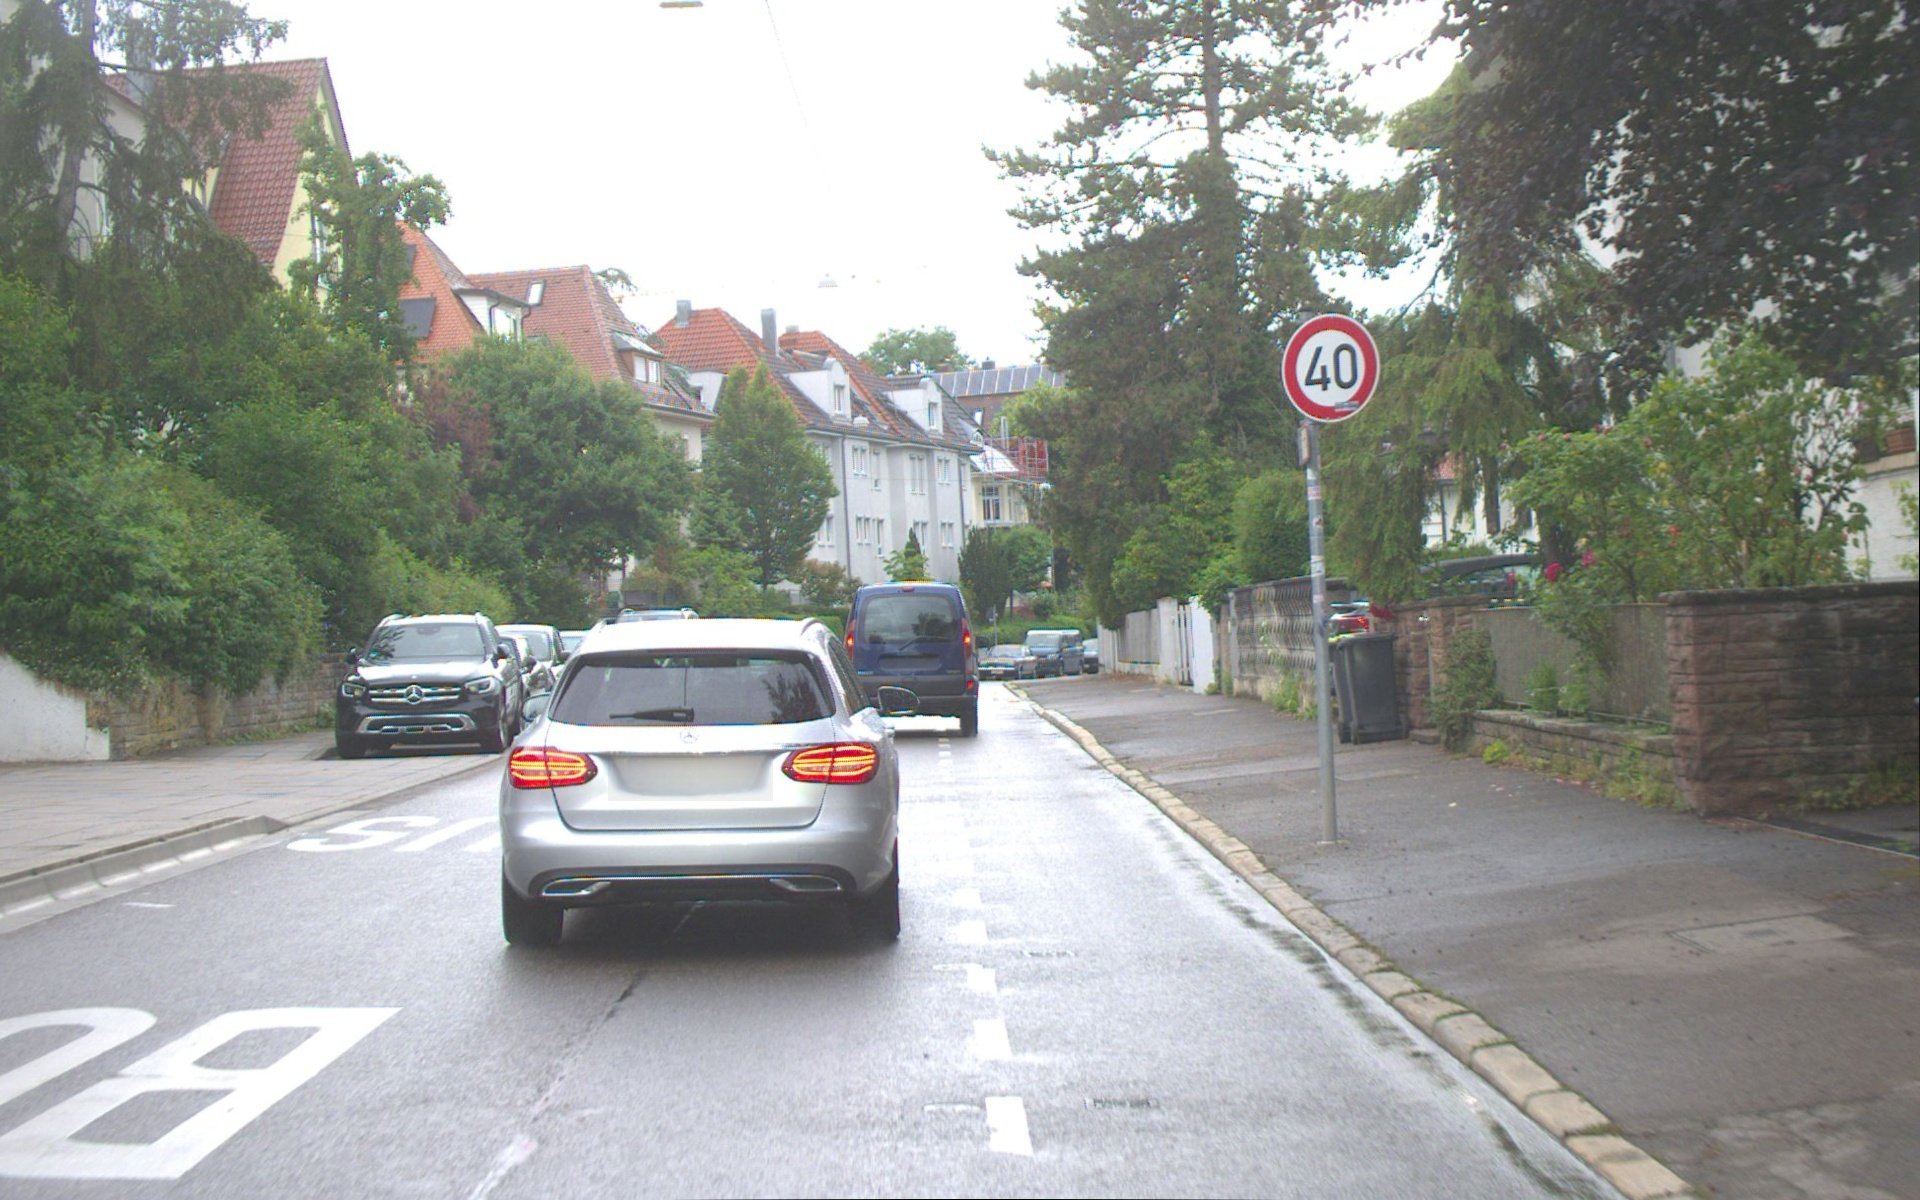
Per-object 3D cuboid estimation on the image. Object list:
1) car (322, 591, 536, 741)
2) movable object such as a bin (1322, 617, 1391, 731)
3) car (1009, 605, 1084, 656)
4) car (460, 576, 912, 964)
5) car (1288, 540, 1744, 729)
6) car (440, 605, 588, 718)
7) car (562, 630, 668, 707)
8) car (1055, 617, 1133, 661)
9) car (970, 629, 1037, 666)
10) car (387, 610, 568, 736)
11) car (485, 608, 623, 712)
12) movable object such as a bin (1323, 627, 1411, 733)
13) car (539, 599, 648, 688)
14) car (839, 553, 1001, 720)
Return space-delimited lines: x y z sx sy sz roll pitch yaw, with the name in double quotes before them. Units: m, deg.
"car" -6.183 0.737 40.455 1.893 1.617 4.379 -1 0 -1
"movable object such as a bin" 3.422 0.637 29.690 0.494 0.952 0.503 -2 1 -3
"car" 3.632 1.287 142.874 1.831 2.049 5.005 -1 -1 17
"car" -1.228 0.698 16.033 1.816 1.551 4.000 -1 0 -3
"car" 5.248 0.303 32.835 3.987 1.634 1.918 -2 1 -1
"car" -6.442 0.857 49.988 1.696 1.536 3.814 -1 0 -1
"car" -6.809 1.339 68.150 1.694 1.442 3.813 -2 -1 0
"car" 5.825 1.693 149.032 1.995 1.682 4.672 -1 2 20
"car" 1.743 1.881 136.938 1.644 1.412 4.609 -1 0 14
"car" -6.325 0.931 45.451 1.893 1.442 3.814 -2 1 -1
"car" -6.457 0.929 55.075 1.756 1.442 4.417 -2 1 -1
"movable object such as a bin" 3.444 0.675 29.115 0.651 0.853 0.503 -2 1 -3
"car" -6.682 0.774 62.893 1.646 1.442 3.628 -2 1 -1
"car" -0.508 0.454 41.811 1.843 1.897 4.000 -1 -1 -1
